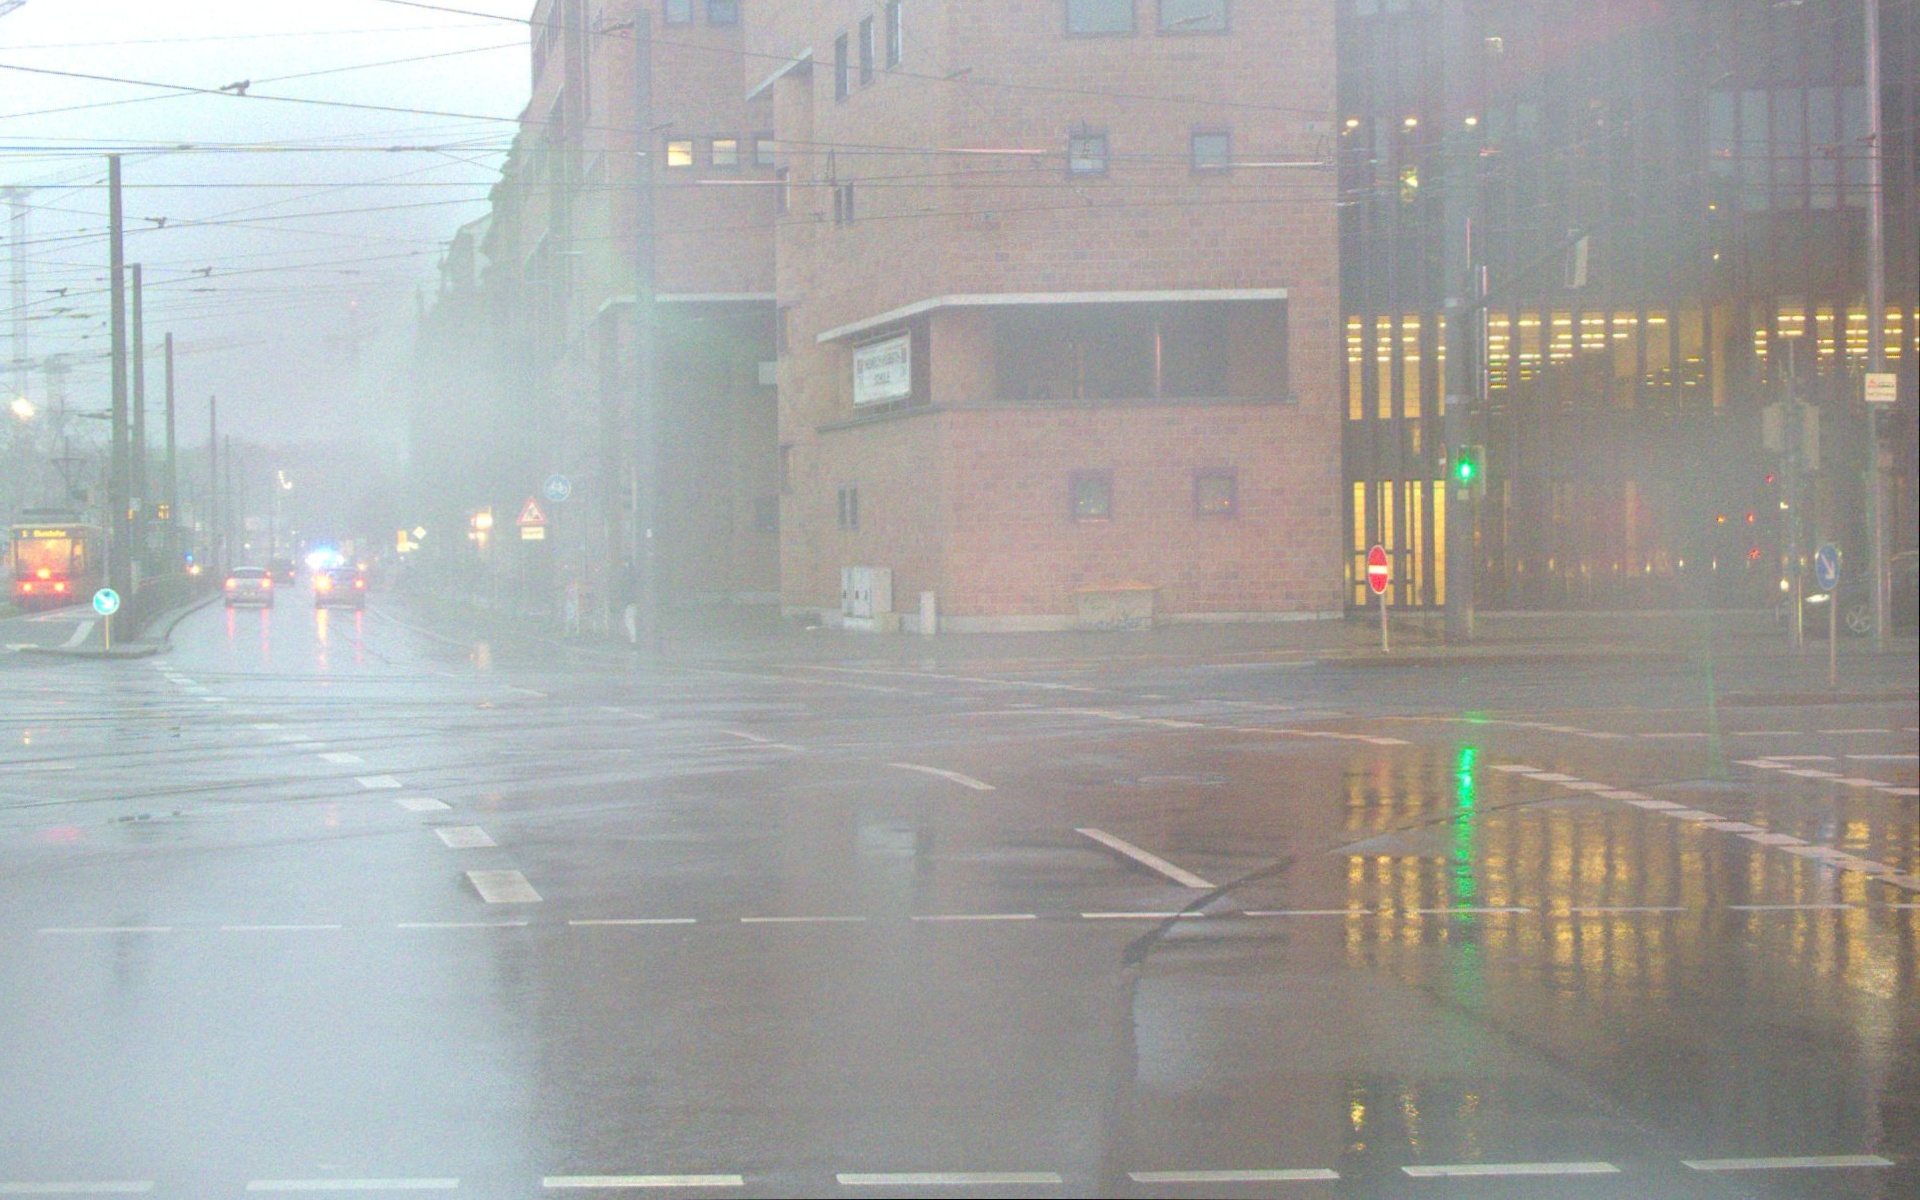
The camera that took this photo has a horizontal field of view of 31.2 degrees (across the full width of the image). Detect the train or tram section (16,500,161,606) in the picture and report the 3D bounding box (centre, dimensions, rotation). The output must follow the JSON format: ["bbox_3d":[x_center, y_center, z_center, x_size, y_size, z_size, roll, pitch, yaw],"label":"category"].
[{"bbox_3d":[-31.873,-1.728,126.898,3.190,3.424,27.839,-1,1,-10],"label":"train or tram section"}]

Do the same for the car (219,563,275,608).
[{"bbox_3d":[-26.414,-0.549,127.420,1.870,1.573,4.001,1,1,-10],"label":"car"}]

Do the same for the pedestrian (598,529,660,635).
[{"bbox_3d":[-6.317,-0.352,65.637,1.068,2.007,0.685,-1,1,-13],"label":"pedestrian"}]

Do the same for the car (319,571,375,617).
[{"bbox_3d":[-22.679,-0.242,127.297,1.870,1.573,4.001,2,1,-8],"label":"car"}]

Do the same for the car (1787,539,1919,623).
[{"bbox_3d":[15.694,-0.341,55.766,3.986,1.305,2.000,-1,1,-4],"label":"car"}]
